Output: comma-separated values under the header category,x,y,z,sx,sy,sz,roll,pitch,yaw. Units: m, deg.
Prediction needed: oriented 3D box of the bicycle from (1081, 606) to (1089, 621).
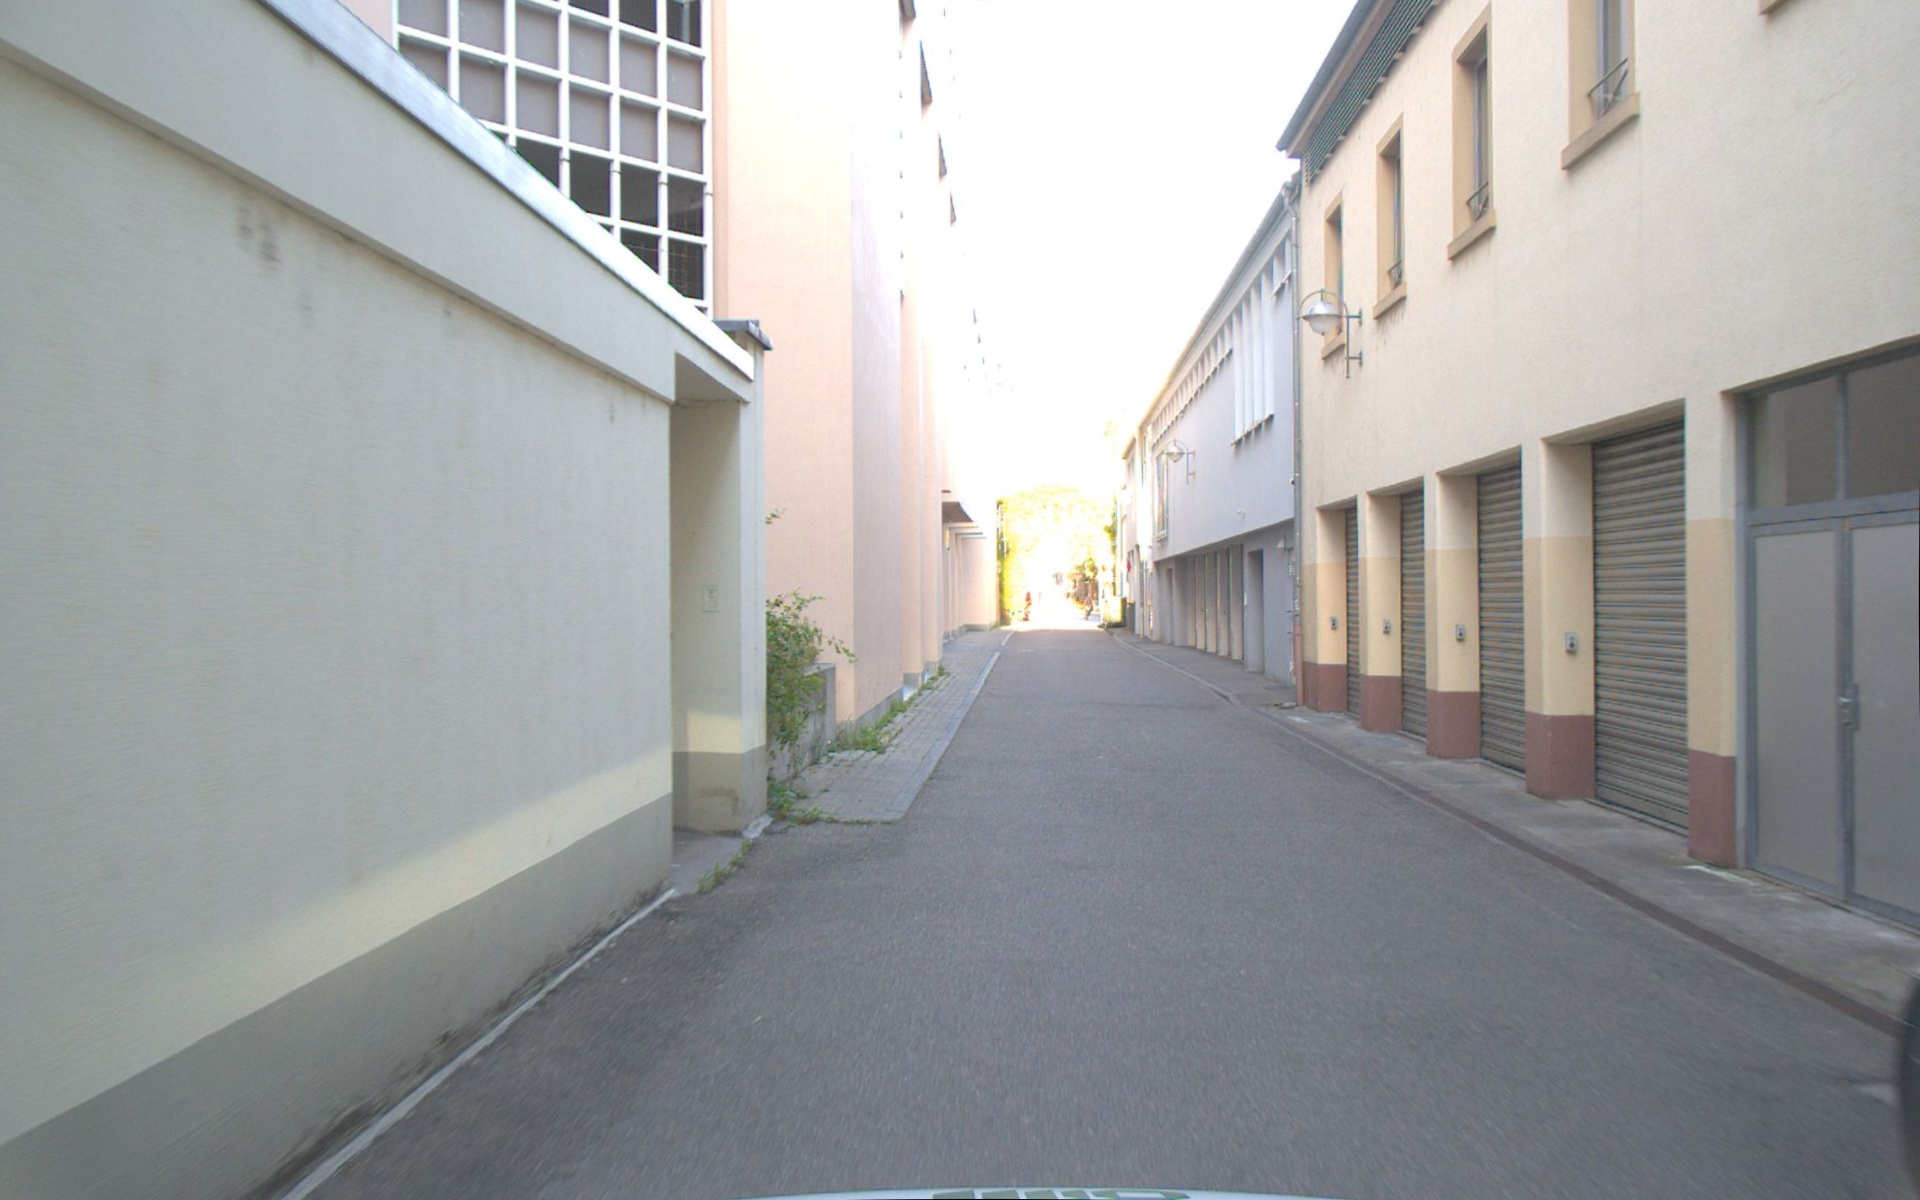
category,x,y,z,sx,sy,sz,roll,pitch,yaw
bicycle,8.196,0.889,108.425,0.433,0.931,1.517,1,0,6

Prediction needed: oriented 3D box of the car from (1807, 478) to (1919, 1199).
category,x,y,z,sx,sy,sz,roll,pitch,yaw
car,2.911,0.645,1.813,1.817,1.786,4.162,0,0,-1

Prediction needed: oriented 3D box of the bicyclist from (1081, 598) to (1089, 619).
category,x,y,z,sx,sy,sz,roll,pitch,yaw
bicyclist,8.203,0.561,108.469,0.501,1.346,0.559,1,0,5

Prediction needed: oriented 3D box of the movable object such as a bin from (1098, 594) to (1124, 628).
category,x,y,z,sx,sy,sz,roll,pitch,yaw
movable object such as a bin,6.741,0.487,73.973,1.084,1.461,1.415,0,2,3
